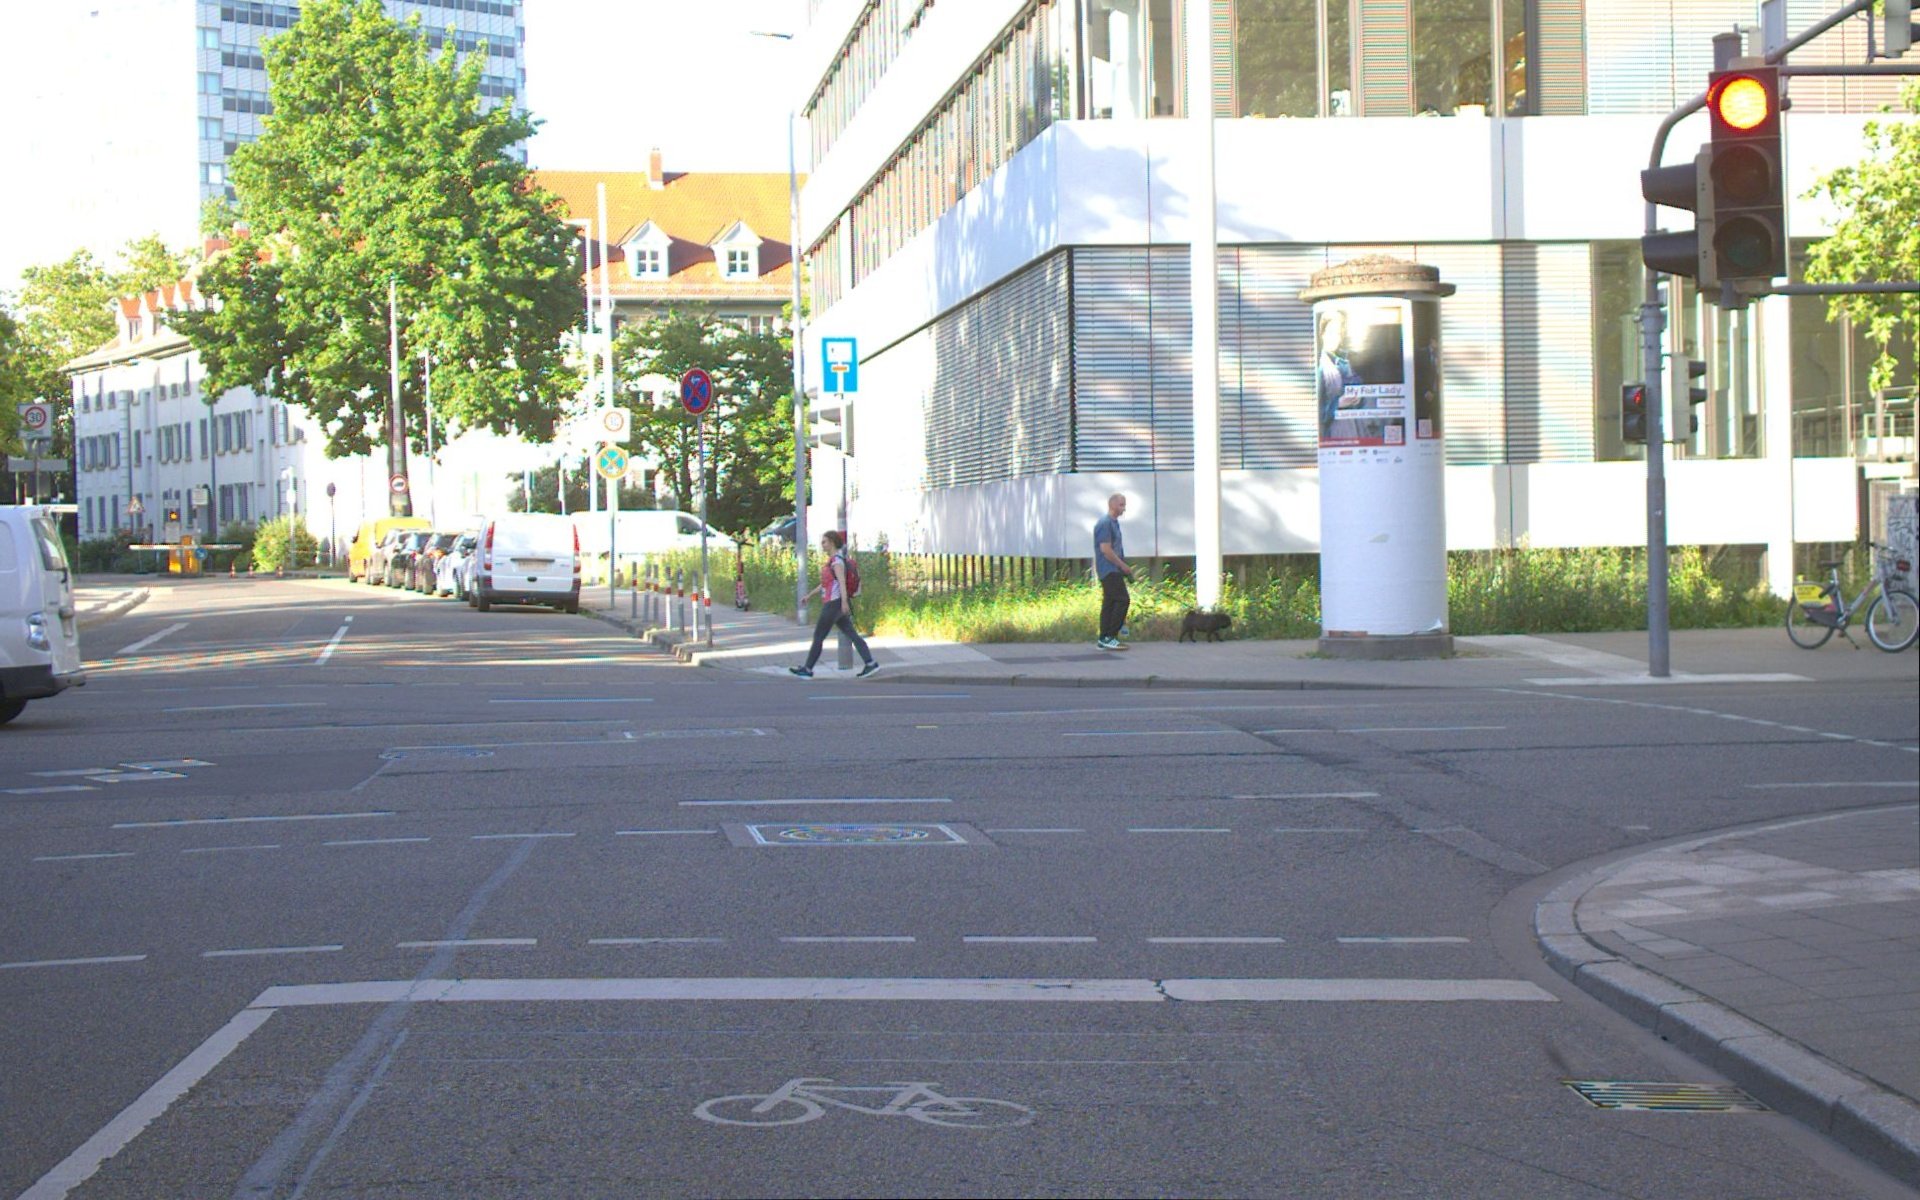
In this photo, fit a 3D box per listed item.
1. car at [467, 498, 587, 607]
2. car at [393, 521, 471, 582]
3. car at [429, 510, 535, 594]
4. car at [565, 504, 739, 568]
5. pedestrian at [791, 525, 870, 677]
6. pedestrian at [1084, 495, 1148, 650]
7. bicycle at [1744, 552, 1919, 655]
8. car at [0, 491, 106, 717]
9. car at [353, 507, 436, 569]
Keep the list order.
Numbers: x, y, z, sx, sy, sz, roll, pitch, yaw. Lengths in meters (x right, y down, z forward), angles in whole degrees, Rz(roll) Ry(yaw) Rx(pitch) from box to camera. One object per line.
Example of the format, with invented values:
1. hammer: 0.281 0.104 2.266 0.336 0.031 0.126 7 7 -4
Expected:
1. car: -8.174 -0.908 64.639 2.066 1.956 4.239 -1 1 -9
2. car: -13.197 -1.223 85.834 1.703 1.459 4.239 -1 1 -11
3. car: -10.656 -1.075 76.461 1.946 1.789 4.239 -1 1 -13
4. car: -9.234 -1.904 102.851 4.880 1.865 2.001 0 0 -17
5. pedestrian: -1.374 0.003 36.662 0.712 1.594 0.617 -1 1 9
6. pedestrian: 1.778 -0.317 39.038 0.652 1.730 0.812 -1 1 6
7. bicycle: 9.177 0.028 36.117 0.463 1.045 1.914 -2 2 -42
8. car: -9.460 0.083 28.198 4.539 1.793 1.637 -2 1 -7
9. car: -15.750 -1.723 95.650 2.100 1.652 4.477 -1 1 -11
